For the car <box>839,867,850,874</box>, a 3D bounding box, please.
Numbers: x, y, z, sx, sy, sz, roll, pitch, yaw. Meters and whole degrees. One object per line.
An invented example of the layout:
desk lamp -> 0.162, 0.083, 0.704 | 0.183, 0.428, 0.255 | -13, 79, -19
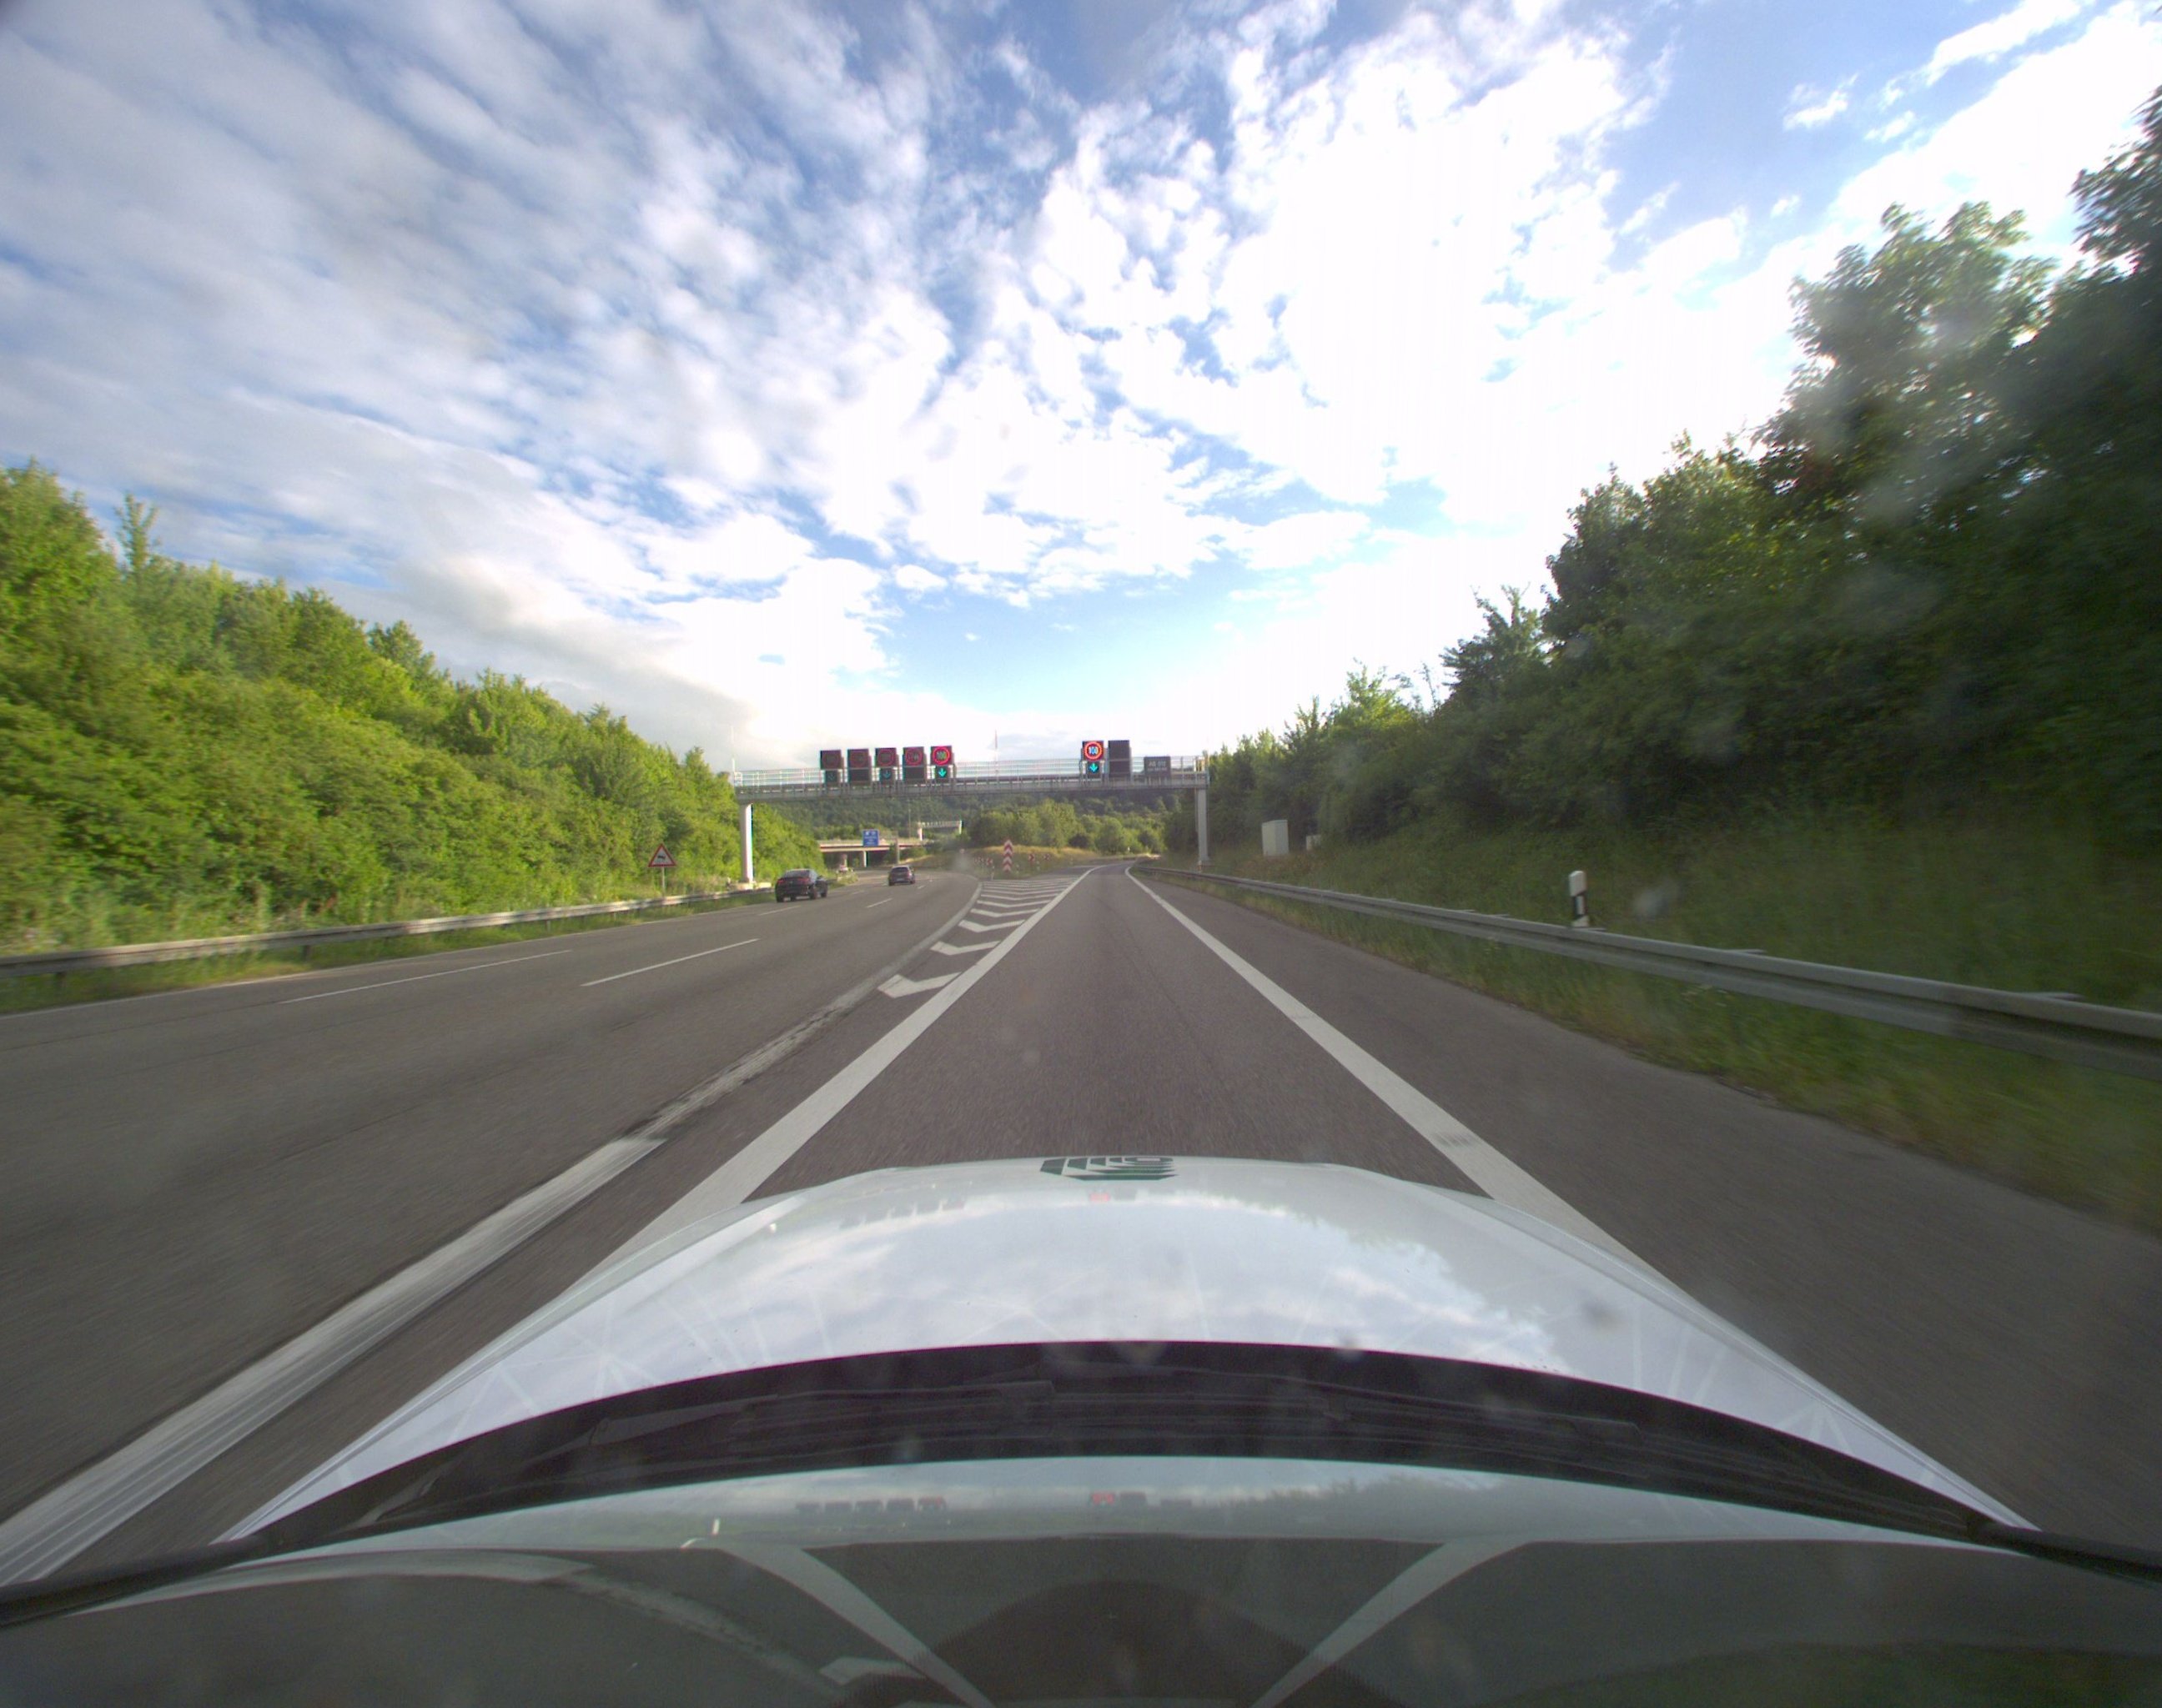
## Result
car -> -51.176, 3.545, 176.180 | 1.744, 1.467, 3.612 | -3, 0, -22

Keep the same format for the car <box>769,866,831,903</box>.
car -> -14.333, 1.531, 41.740 | 1.828, 1.635, 3.996 | -4, 0, -3

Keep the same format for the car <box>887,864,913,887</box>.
car -> -13.386, 1.570, 60.137 | 1.740, 1.466, 3.769 | -4, 0, -14

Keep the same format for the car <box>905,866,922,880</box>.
car -> -19.661, 2.230, 95.589 | 1.607, 1.466, 3.509 | -4, 0, -15
